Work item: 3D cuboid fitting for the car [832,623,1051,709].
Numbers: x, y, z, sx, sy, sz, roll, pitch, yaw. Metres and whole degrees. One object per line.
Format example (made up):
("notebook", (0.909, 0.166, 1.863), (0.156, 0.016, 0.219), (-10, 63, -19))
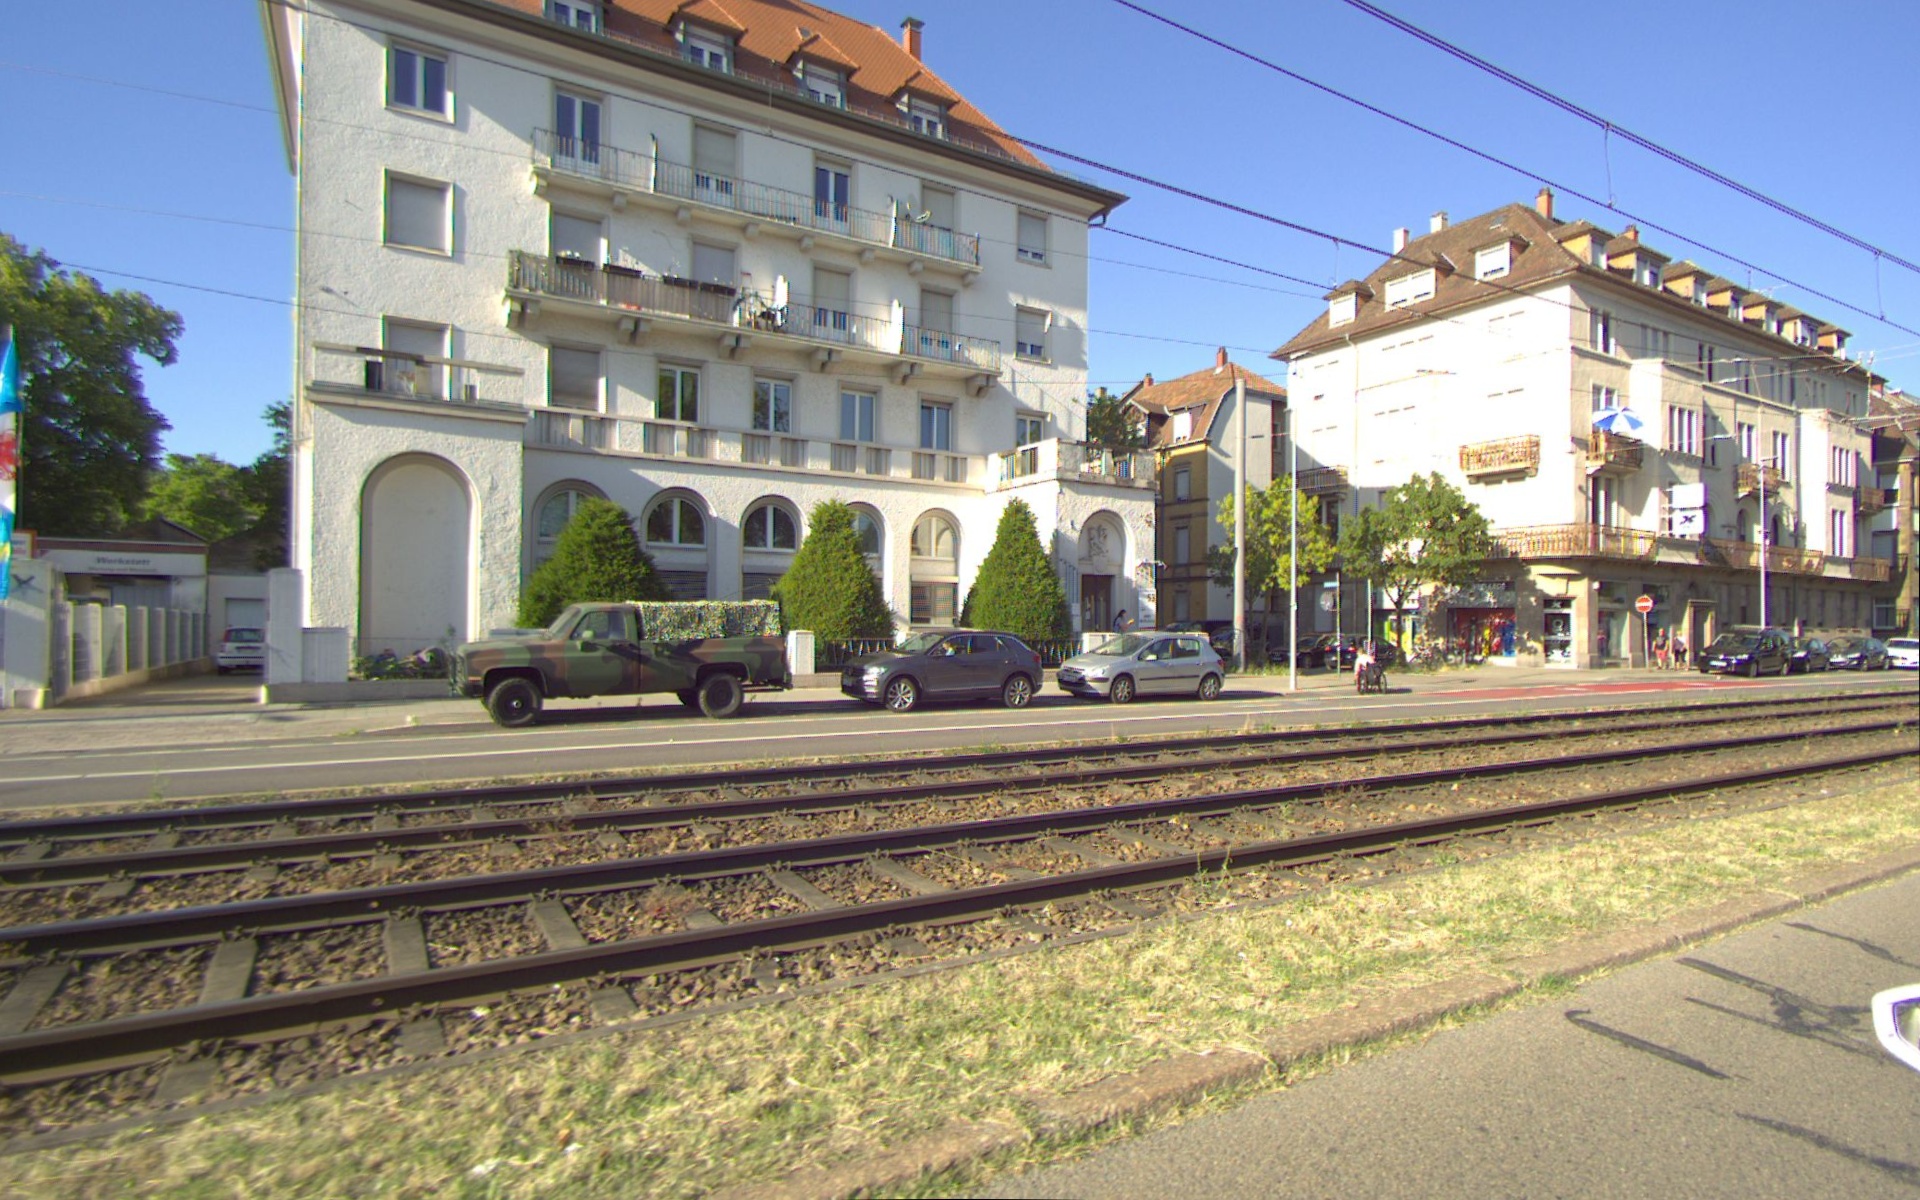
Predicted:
("car", (-0.339, 1.301, 20.179), (4.109, 1.527, 1.628), (2, 0, -29))

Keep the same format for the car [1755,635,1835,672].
("car", (35.582, 2.259, 42.793), (3.470, 1.410, 1.618), (1, 2, -32))

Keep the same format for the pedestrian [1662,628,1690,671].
("pedestrian", (29.691, 2.045, 41.638), (0.847, 1.719, 0.586), (2, 0, -29))

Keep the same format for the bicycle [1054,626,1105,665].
("bicycle", (3.514, 1.329, 29.460), (1.611, 1.102, 0.460), (2, 0, -39))

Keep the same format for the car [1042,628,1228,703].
("car", (4.035, 1.478, 23.038), (3.953, 1.530, 1.786), (2, 0, -30))

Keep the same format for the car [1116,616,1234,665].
("car", (7.983, 1.525, 37.156), (4.215, 1.662, 1.785), (3, -3, -32))

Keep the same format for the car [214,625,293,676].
("car", (-22.897, 1.606, 32.691), (1.780, 1.530, 3.967), (1, -2, -31))

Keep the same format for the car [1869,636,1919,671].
("car", (44.853, 2.527, 47.723), (3.943, 1.488, 1.624), (0, -1, -35))

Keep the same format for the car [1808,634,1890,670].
("car", (40.423, 2.347, 45.637), (4.112, 1.488, 1.626), (2, 2, -32))

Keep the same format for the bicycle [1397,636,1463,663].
("bicycle", (20.912, 2.184, 44.770), (0.742, 1.176, 2.874), (1, -2, -23))

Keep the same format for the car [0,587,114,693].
("car", (-19.817, 0.816, 21.023), (1.958, 2.029, 4.065), (0, -1, -21))

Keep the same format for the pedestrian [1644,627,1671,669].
("pedestrian", (29.327, 2.034, 42.227), (0.847, 1.719, 0.586), (2, 0, -29))

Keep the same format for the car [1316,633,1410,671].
("car", (17.225, 2.217, 42.850), (4.206, 1.483, 1.760), (2, 0, -37))

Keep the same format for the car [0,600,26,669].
("car", (-27.567, 0.924, 27.390), (1.913, 1.910, 3.974), (2, -3, -26))

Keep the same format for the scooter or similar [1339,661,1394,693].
("scooter or similar", (10.539, 1.987, 26.077), (0.792, 0.780, 1.570), (0, -2, 0))

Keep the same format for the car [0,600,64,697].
("car", (-17.465, 0.849, 17.089), (1.922, 1.655, 4.122), (-1, -1, -21))

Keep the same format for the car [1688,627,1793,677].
("car", (30.702, 1.997, 39.485), (4.352, 1.810, 1.852), (1, 1, -32))

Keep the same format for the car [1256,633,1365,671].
("car", (15.721, 2.338, 44.987), (4.842, 1.530, 2.048), (3, -3, -32))

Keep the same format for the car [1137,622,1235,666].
("car", (11.531, 2.252, 51.158), (4.845, 2.067, 2.046), (3, -3, -33))

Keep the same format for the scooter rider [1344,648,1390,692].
("scooter rider", (10.542, 1.794, 26.040), (0.792, 1.103, 0.979), (0, -2, 0))

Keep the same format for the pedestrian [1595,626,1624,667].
("pedestrian", (27.765, 1.996, 42.922), (0.943, 1.683, 0.636), (2, 0, -29))

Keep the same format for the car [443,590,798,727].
("car", (-5.784, 0.940, 17.358), (5.524, 2.037, 2.068), (2, 0, -29))

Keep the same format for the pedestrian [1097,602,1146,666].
("pedestrian", (4.697, 0.992, 29.236), (0.981, 1.801, 0.929), (2, 0, 45))

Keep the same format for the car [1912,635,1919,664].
("car", (52.138, 2.609, 53.058), (4.111, 1.488, 1.627), (1, 0, -31))

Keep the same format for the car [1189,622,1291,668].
("car", (13.522, 2.185, 48.449), (4.845, 2.067, 2.046), (3, -3, -33))

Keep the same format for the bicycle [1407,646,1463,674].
("bicycle", (18.373, 2.300, 38.854), (2.383, 1.029, 0.681), (1, 1, -29))
